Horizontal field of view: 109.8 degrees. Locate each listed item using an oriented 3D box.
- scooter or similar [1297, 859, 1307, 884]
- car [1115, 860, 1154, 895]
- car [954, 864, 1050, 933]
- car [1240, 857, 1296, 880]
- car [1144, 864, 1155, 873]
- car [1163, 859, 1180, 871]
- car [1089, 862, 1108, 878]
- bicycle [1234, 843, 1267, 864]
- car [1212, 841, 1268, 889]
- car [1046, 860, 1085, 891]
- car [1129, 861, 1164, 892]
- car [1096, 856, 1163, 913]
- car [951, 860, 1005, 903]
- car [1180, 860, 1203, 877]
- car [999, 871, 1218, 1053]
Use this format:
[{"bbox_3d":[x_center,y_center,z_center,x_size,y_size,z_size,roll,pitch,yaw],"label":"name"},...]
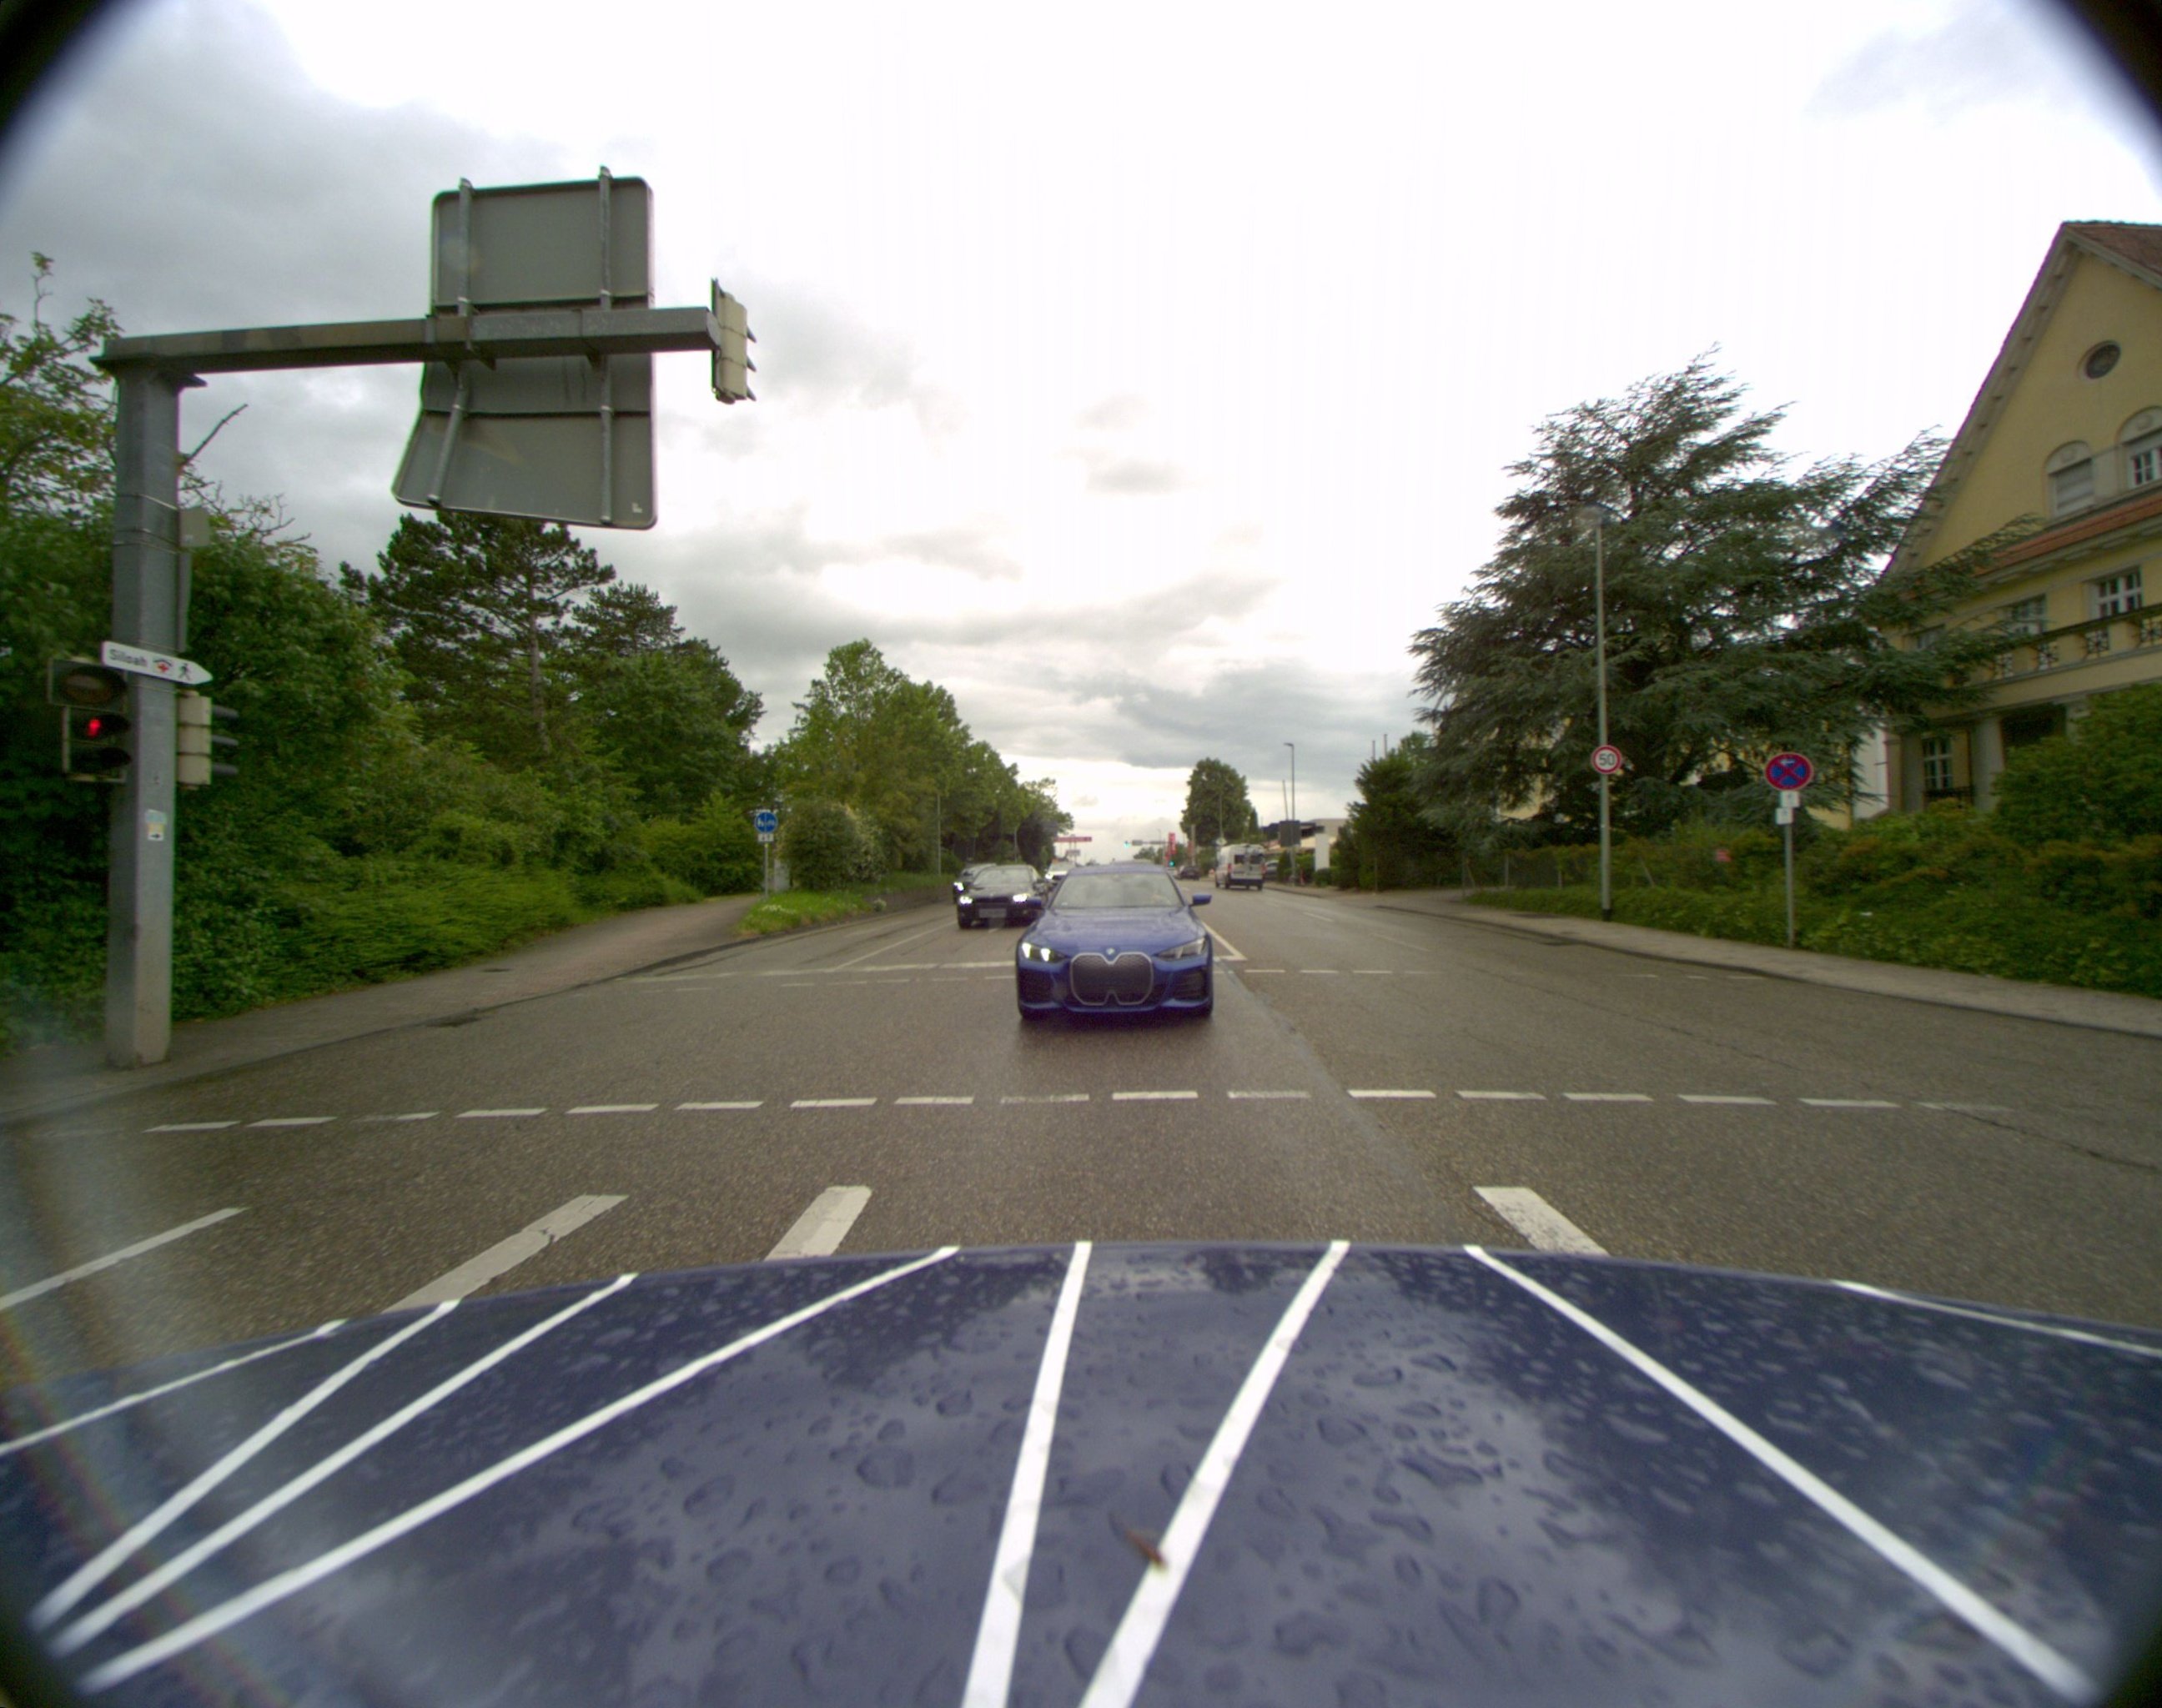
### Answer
[{"bbox_3d":[12.620,0.973,43.412,0.505,1.398,1.883,0,0,14],"label":"scooter or similar"},{"bbox_3d":[2.588,1.104,37.150,1.806,1.543,4.001,-1,0,3],"label":"car"},{"bbox_3d":[-1.902,1.048,19.729,1.795,1.451,4.720,-2,0,2],"label":"car"},{"bbox_3d":[14.023,1.107,57.183,3.929,1.642,1.720,-1,0,9],"label":"car"},{"bbox_3d":[12.438,2.643,137.672,1.703,1.590,3.550,-1,0,1],"label":"car"},{"bbox_3d":[11.199,1.396,94.340,1.750,1.389,3.802,-1,0,0],"label":"car"},{"bbox_3d":[1.834,1.619,78.055,1.828,1.612,3.842,-1,0,3],"label":"car"},{"bbox_3d":[9.152,-0.031,41.009,1.640,1.119,0.468,1,0,3],"label":"bicycle"},{"bbox_3d":[9.138,0.598,44.159,2.302,2.513,5.775,2,0,3],"label":"car"},{"bbox_3d":[-0.847,1.237,44.718,1.978,1.612,3.842,-3,1,3],"label":"car"},{"bbox_3d":[3.855,1.299,45.242,1.928,1.708,4.100,-2,0,4],"label":"car"},{"bbox_3d":[1.438,0.850,22.876,1.806,1.543,4.224,-1,-1,3],"label":"car"},{"bbox_3d":[-4.424,1.137,33.073,1.705,1.612,3.842,-3,1,1],"label":"car"},{"bbox_3d":[10.604,1.407,73.121,1.780,1.493,4.472,-1,0,3],"label":"car"},{"bbox_3d":[0.338,0.946,8.446,1.803,1.399,4.273,-1,0,3],"label":"car"}]
